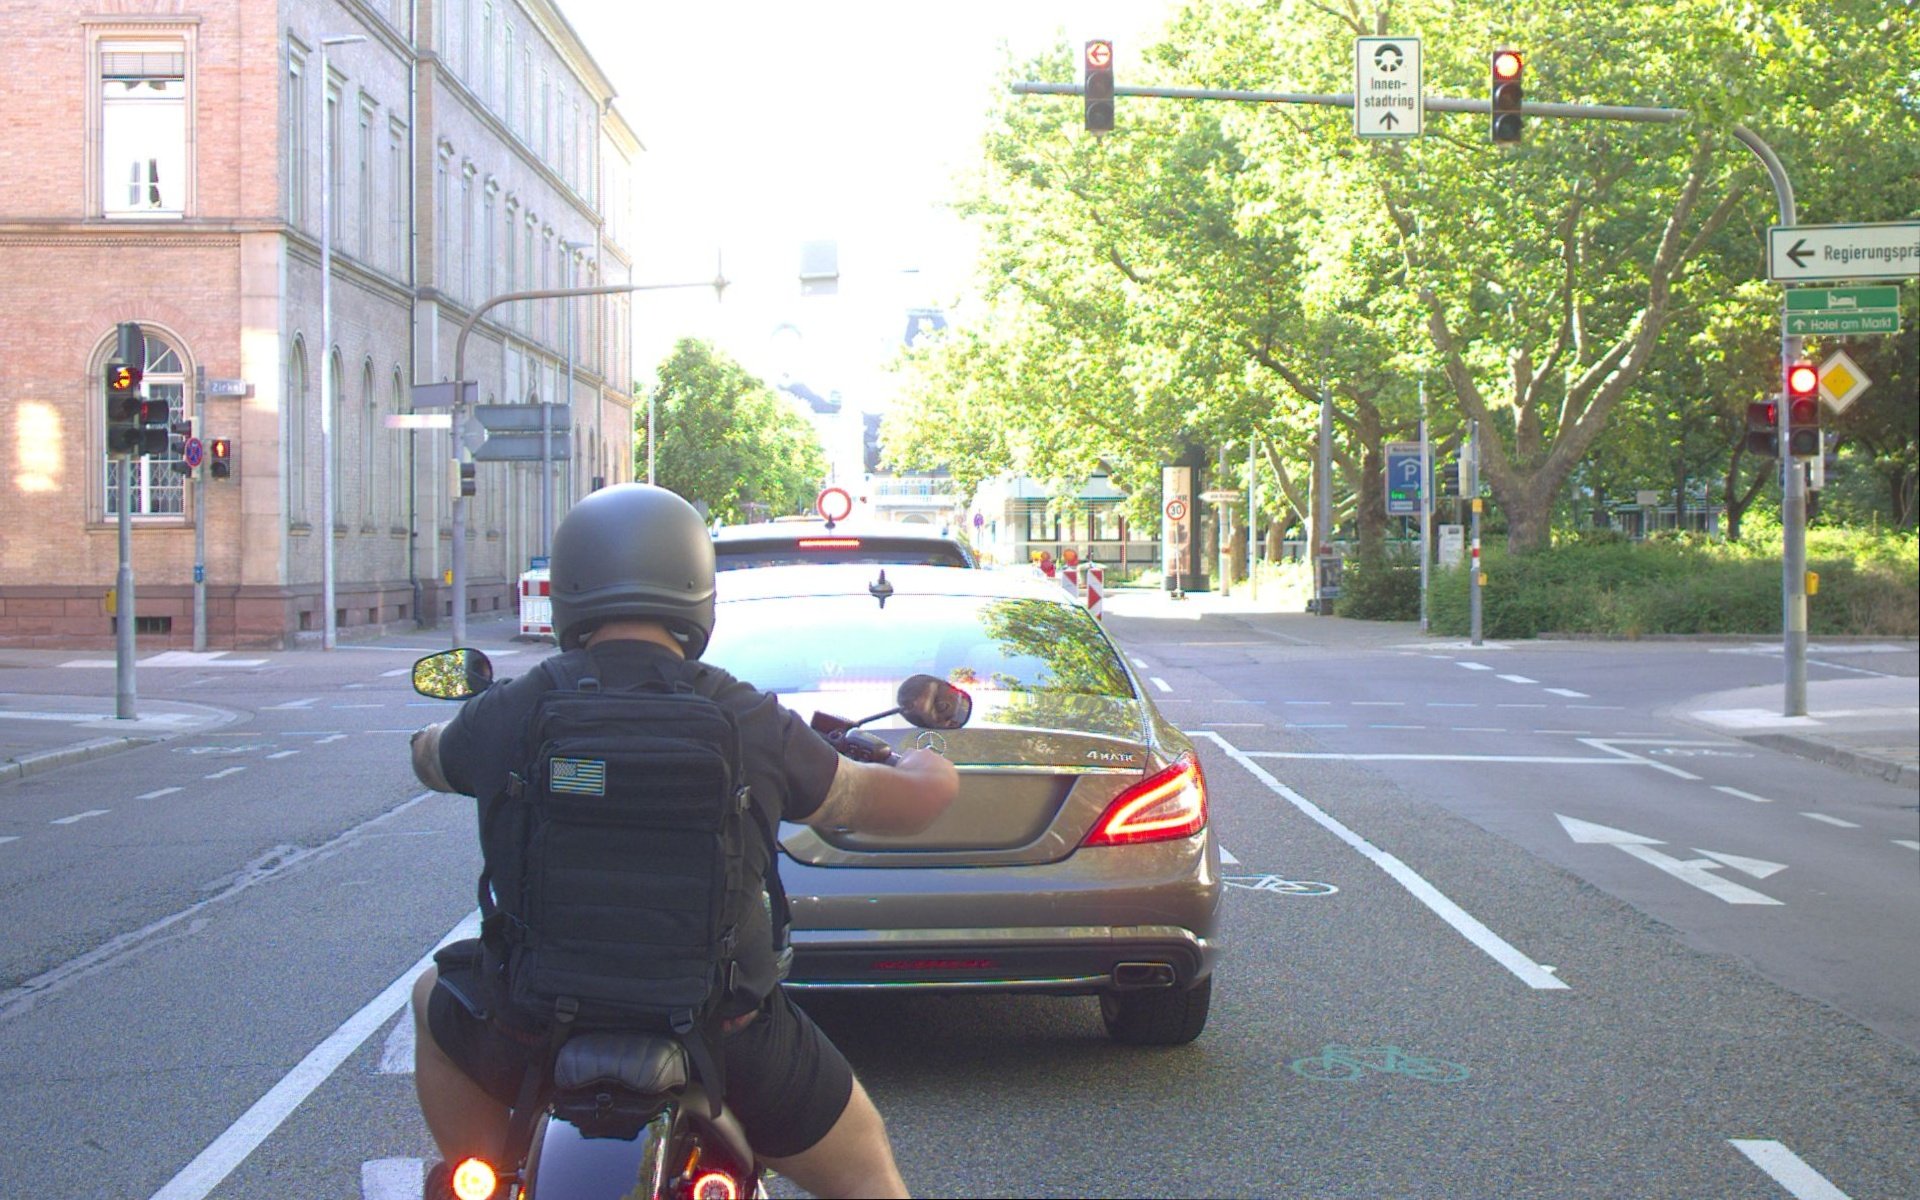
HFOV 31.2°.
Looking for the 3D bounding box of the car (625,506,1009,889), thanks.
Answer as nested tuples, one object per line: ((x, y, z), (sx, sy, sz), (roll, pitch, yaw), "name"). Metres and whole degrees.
((-0.642, 0.404, 16.975), (1.651, 1.646, 4.000), (1, 1, -1), "car")

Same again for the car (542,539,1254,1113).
((-0.412, 0.568, 11.130), (1.824, 1.481, 4.334), (1, 1, -7), "car")

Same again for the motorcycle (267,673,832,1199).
((-0.567, 0.769, 5.424), (0.660, 1.236, 2.058), (1, 1, -1), "motorcycle")

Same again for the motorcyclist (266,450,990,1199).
((-0.470, 0.596, 5.330), (0.990, 1.605, 1.120), (1, 0, -1), "motorcyclist")
